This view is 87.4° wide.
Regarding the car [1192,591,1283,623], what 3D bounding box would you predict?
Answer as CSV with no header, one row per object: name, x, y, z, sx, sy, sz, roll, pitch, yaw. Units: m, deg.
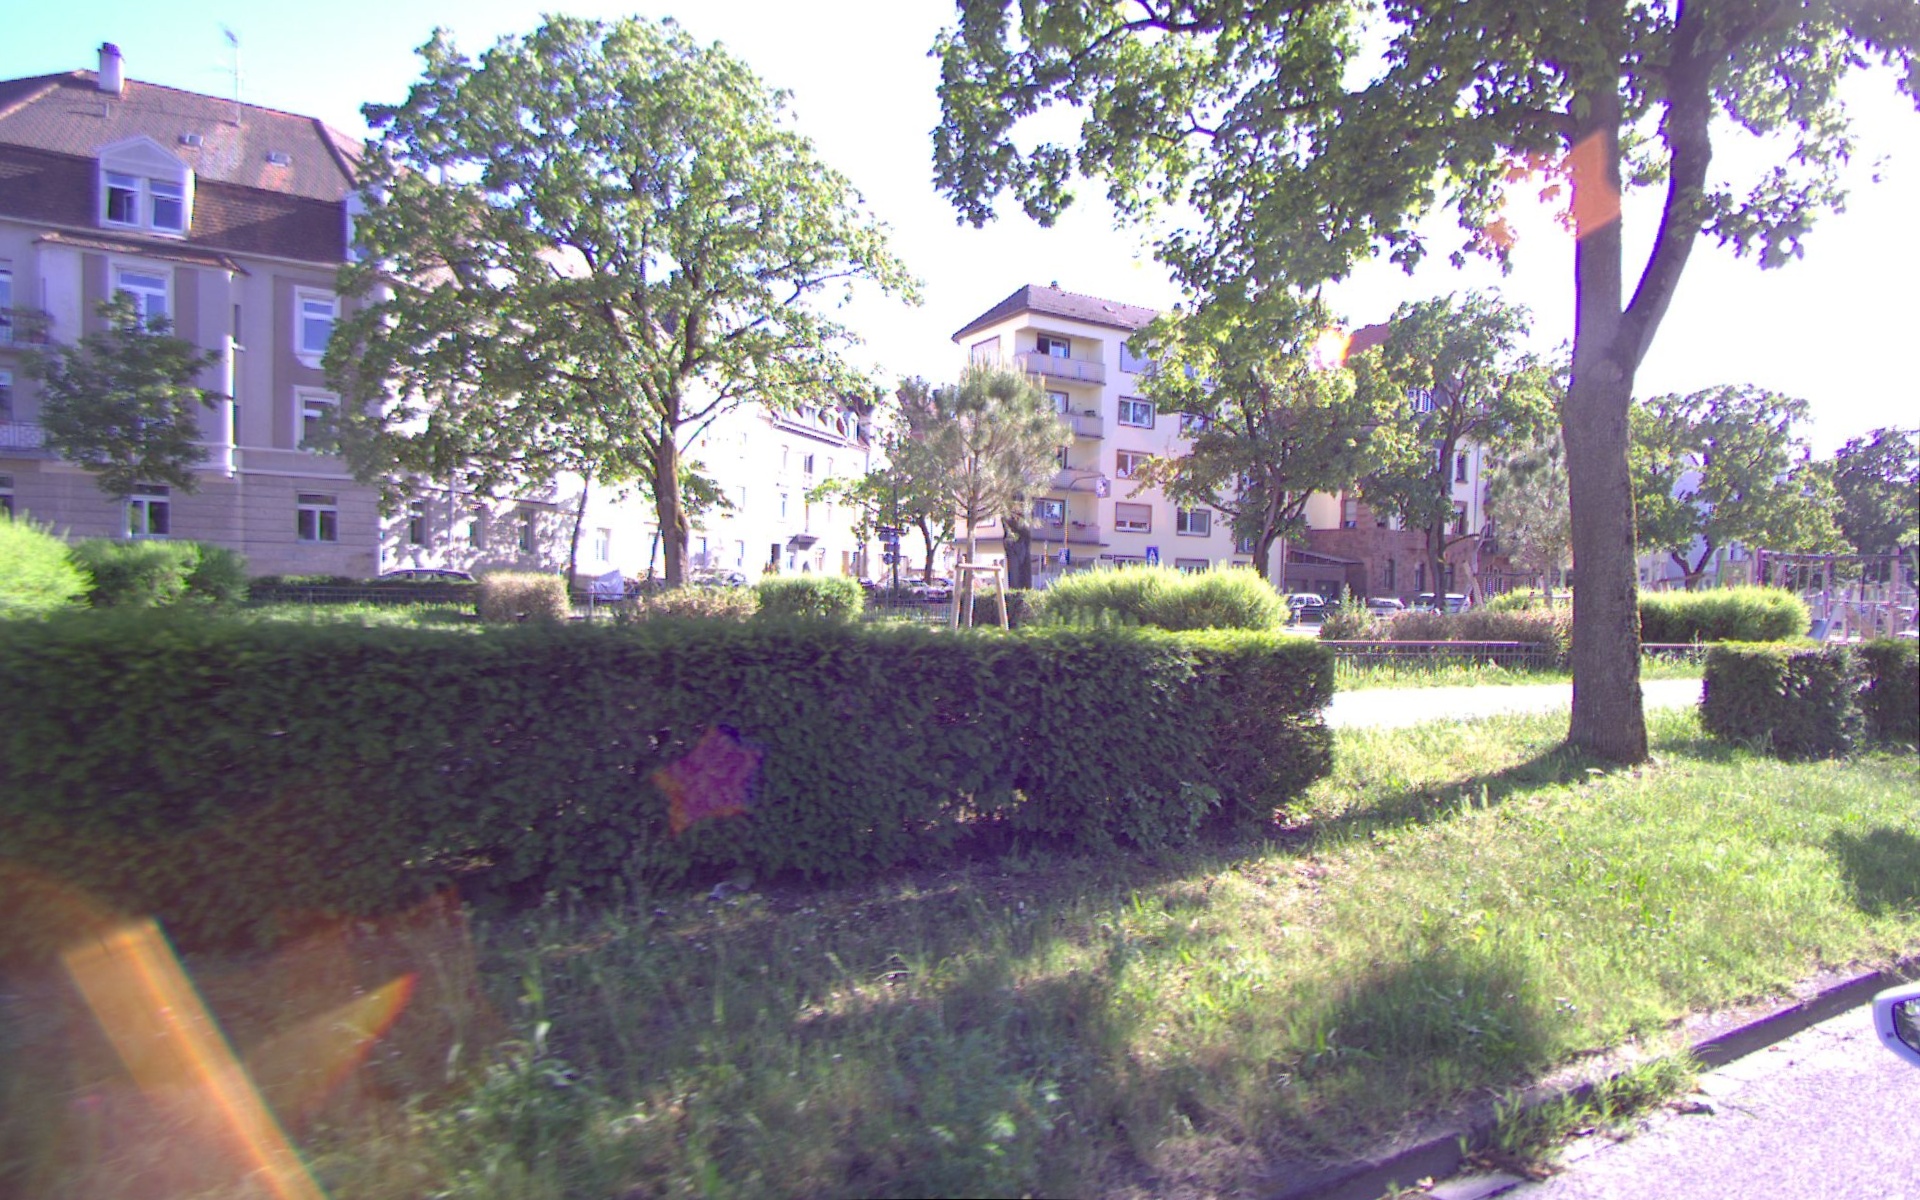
car,14.725,0.361,53.185,4.709,1.530,1.896,1,2,-31

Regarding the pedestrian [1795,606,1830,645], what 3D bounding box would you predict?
pedestrian,30.838,0.907,36.323,0.639,1.347,0.649,2,2,-11

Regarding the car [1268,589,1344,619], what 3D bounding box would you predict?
car,19.164,0.222,55.670,3.952,1.530,1.786,1,2,-29

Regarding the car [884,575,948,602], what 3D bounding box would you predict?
car,-2.698,-0.701,61.265,1.787,1.530,3.950,2,0,-42

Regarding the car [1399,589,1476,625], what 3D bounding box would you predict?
car,29.046,0.444,61.060,4.777,2.009,1.786,1,2,-30

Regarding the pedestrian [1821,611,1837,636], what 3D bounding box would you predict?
pedestrian,60.321,1.652,69.700,0.642,1.683,0.645,1,0,-29

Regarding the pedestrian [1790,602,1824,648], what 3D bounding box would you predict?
pedestrian,31.656,0.936,37.526,0.639,1.683,0.649,2,2,-11

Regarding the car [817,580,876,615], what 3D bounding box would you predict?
car,-5.582,-0.161,48.963,1.775,1.530,3.977,2,2,-23
